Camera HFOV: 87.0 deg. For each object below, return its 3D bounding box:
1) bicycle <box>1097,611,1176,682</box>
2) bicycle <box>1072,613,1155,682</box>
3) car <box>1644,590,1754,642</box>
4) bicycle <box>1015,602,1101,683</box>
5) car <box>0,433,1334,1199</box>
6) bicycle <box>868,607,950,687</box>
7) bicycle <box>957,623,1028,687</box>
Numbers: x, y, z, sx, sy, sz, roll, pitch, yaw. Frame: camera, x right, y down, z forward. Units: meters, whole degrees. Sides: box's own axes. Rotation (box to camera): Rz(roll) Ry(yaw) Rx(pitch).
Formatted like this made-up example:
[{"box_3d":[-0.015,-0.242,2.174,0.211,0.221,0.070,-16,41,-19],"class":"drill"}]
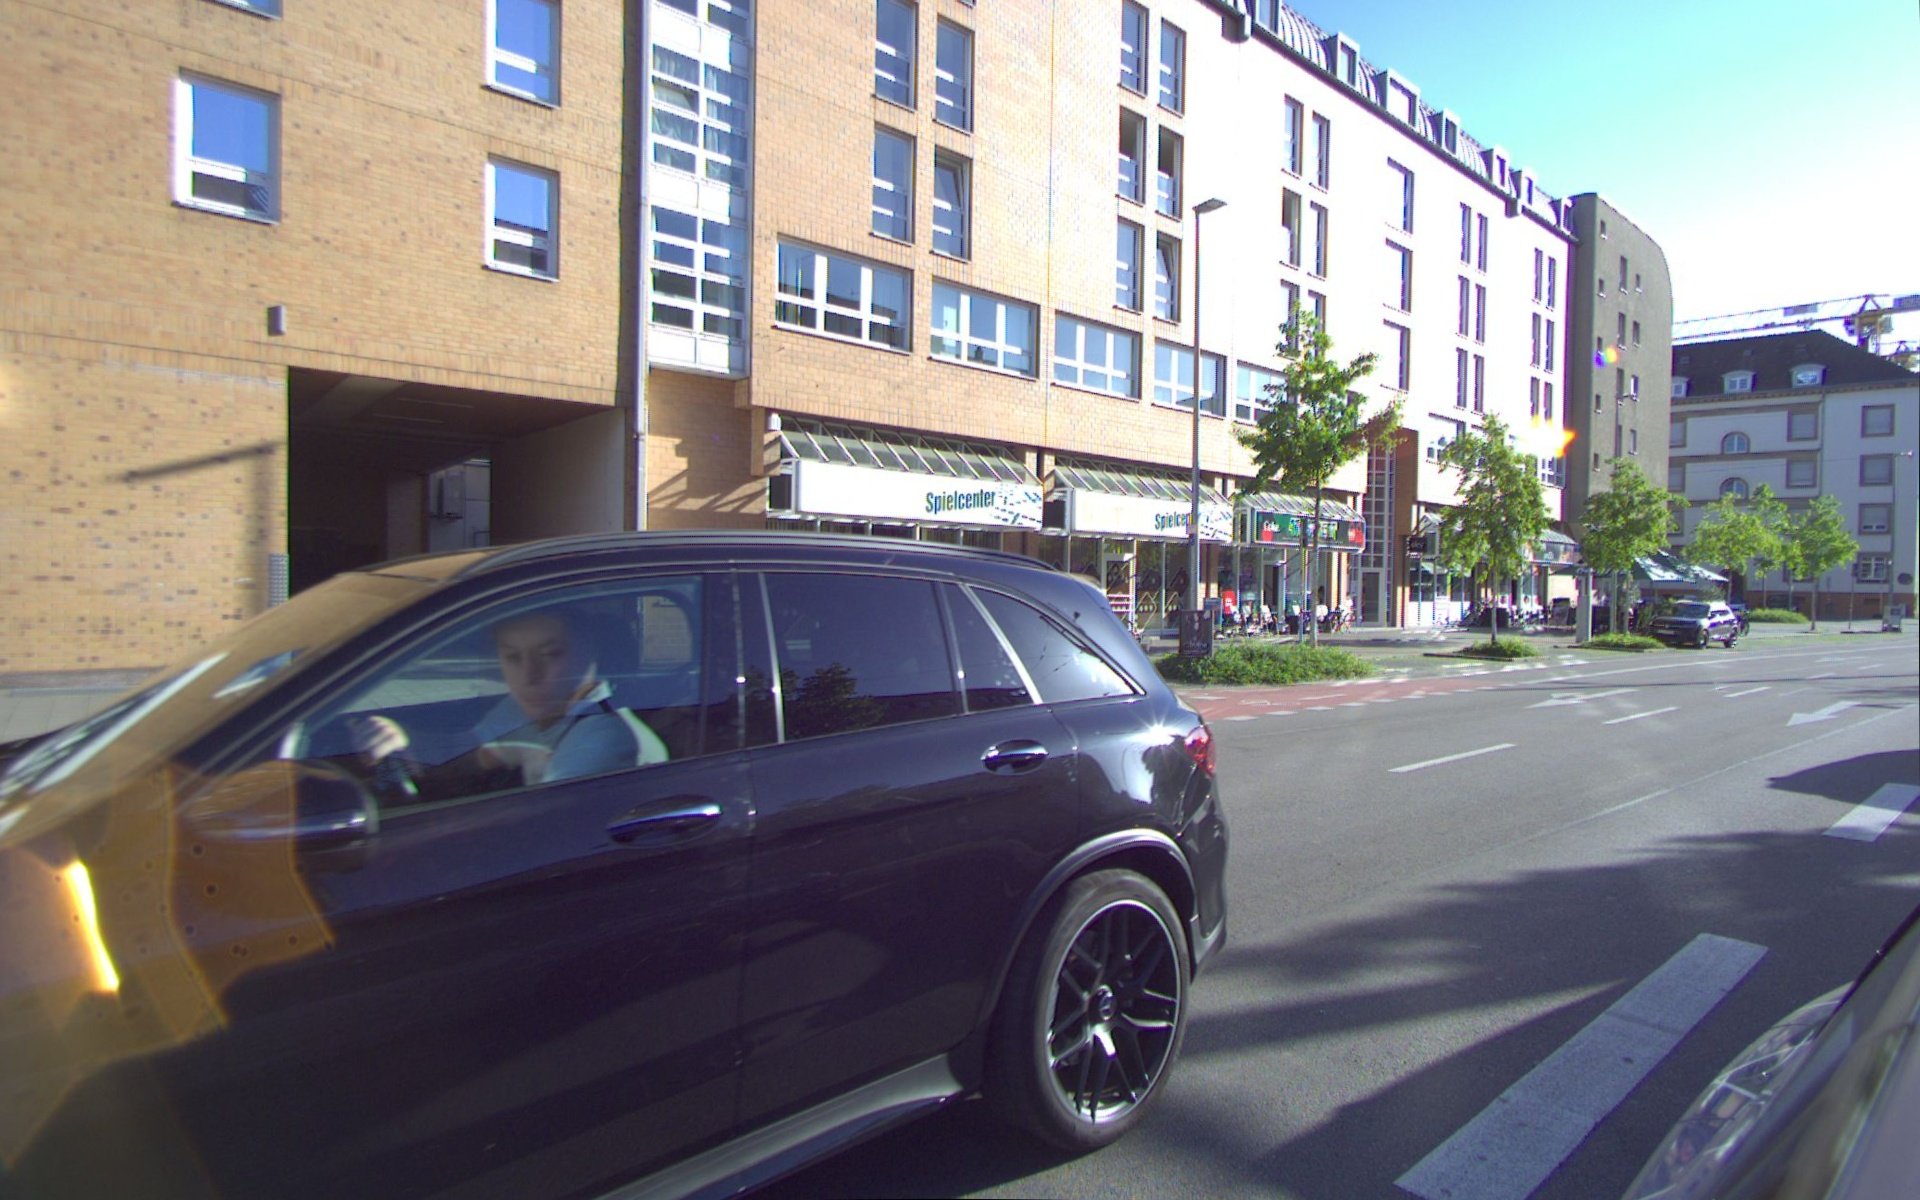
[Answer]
[{"box_3d":[3.086,0.787,17.855,0.343,1.069,1.843,0,3,-26],"class":"bicycle"},{"box_3d":[2.646,0.797,17.658,0.440,0.997,1.843,0,3,-26],"class":"bicycle"},{"box_3d":[25.829,0.532,35.367,3.921,1.660,1.782,0,1,-33],"class":"car"},{"box_3d":[1.630,0.684,17.200,0.553,1.177,1.843,0,3,-26],"class":"bicycle"},{"box_3d":[-1.006,0.606,2.609,4.375,1.615,1.806,0,-1,-41],"class":"car"},{"box_3d":[-0.844,0.720,16.232,0.423,1.089,1.776,-1,4,-35],"class":"bicycle"},{"box_3d":[0.503,0.873,16.643,0.359,0.842,1.779,0,3,-26],"class":"bicycle"}]
